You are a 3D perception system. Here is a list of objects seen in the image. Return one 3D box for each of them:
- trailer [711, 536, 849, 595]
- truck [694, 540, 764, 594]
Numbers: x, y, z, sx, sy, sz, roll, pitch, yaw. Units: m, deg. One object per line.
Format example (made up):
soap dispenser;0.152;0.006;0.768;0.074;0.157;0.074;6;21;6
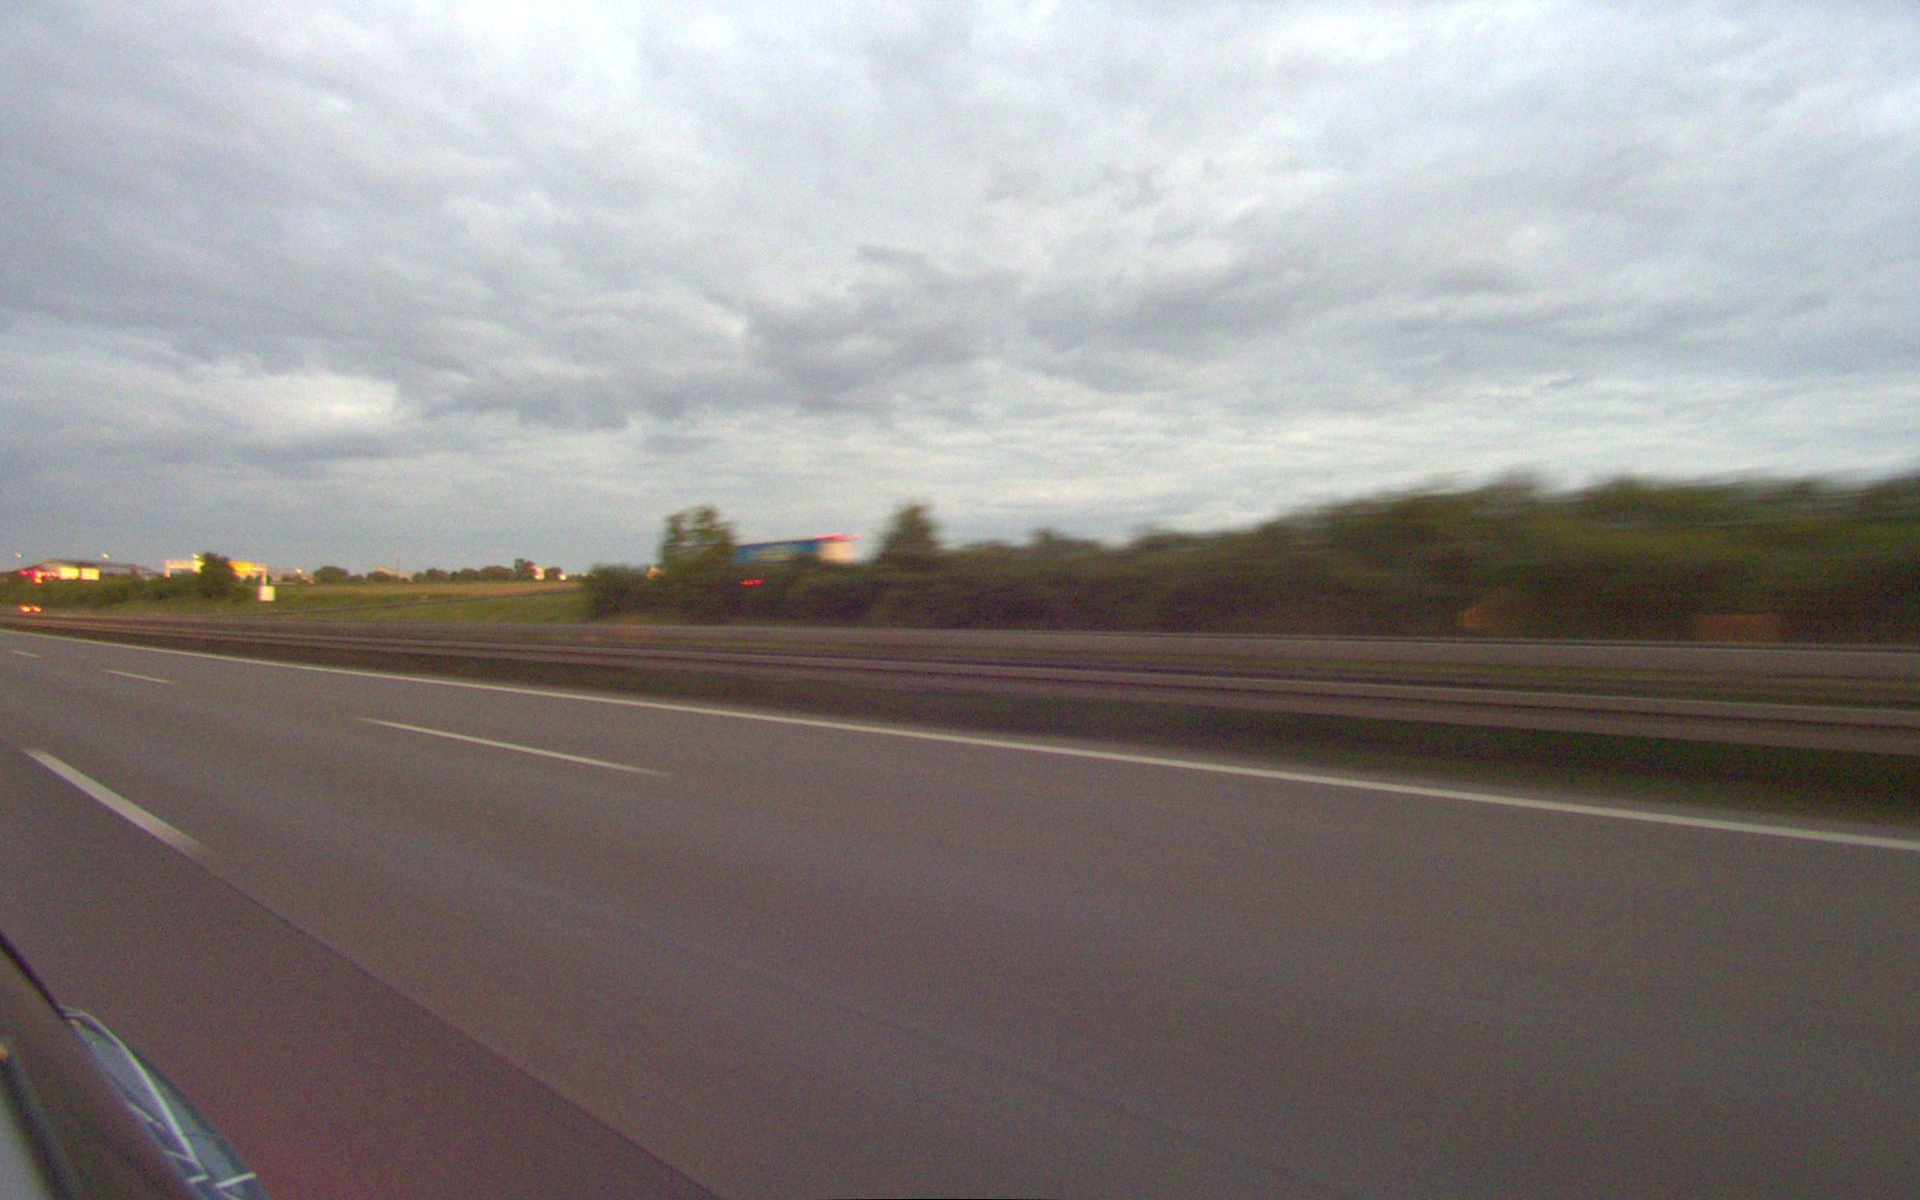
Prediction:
trailer;-14.150;-2.529;78.691;12.465;4.102;2.667;-1;-1;36
truck;-18.714;-2.582;81.911;5.466;4.102;2.667;-1;-1;36
